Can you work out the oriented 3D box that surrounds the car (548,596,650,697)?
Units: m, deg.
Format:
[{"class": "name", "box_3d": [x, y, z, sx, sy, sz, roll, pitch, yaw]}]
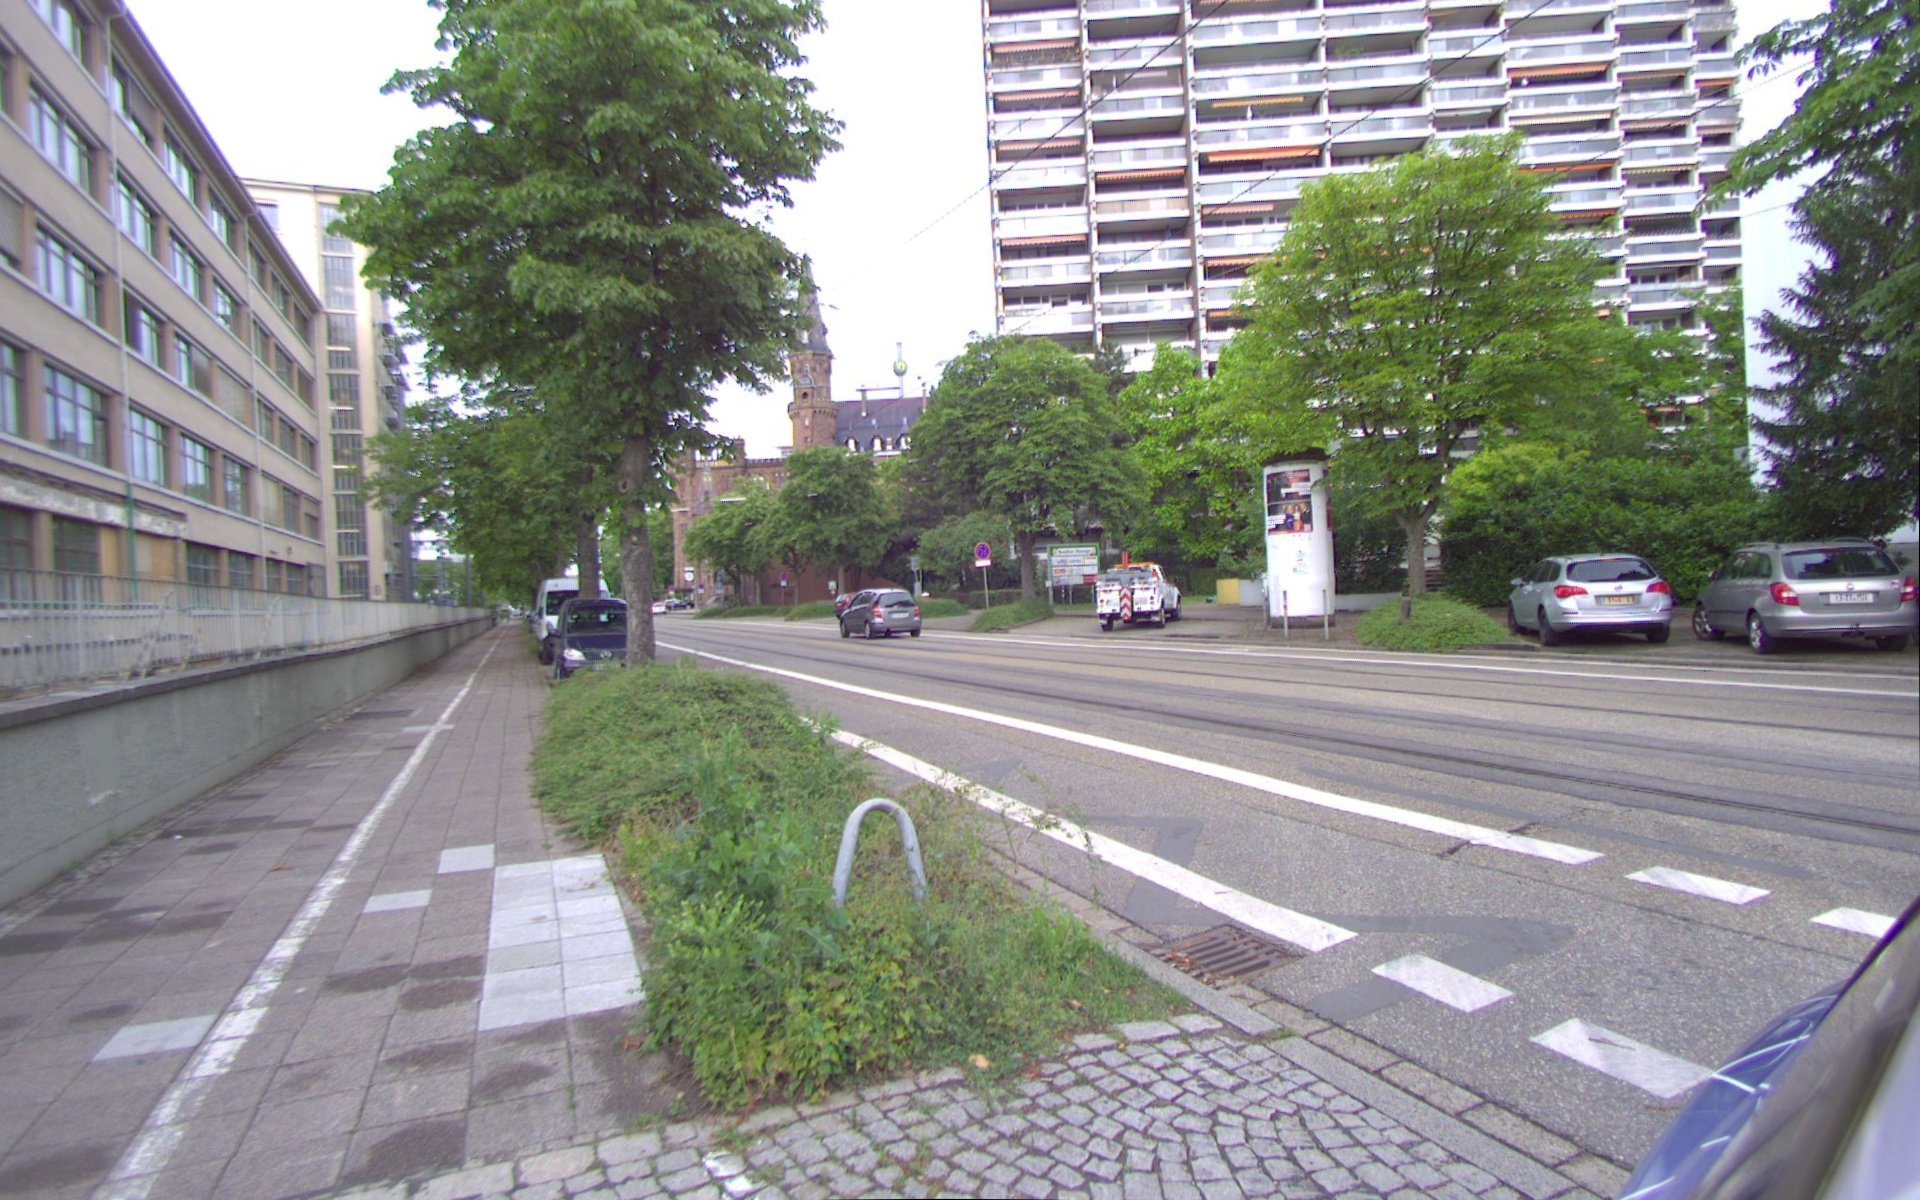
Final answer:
[{"class": "car", "box_3d": [-7.502, 0.858, 20.818, 1.625, 1.835, 4.091, -1, 0, -24]}]

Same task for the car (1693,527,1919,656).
[{"class": "car", "box_3d": [12.008, -0.177, 14.453, 1.554, 1.543, 3.626, -4, 1, 22]}]

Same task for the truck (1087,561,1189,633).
[{"class": "truck", "box_3d": [5.449, -0.153, 30.440, 1.976, 1.871, 5.030, -4, 1, 21]}]

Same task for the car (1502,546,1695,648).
[{"class": "car", "box_3d": [10.966, -0.121, 17.743, 1.780, 1.482, 4.407, -3, 1, 19]}]

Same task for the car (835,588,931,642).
[{"class": "car", "box_3d": [-2.560, 0.466, 32.746, 1.867, 1.549, 3.760, -3, 0, -24]}]

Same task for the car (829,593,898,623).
[{"class": "car", "box_3d": [-5.373, 0.441, 56.375, 3.441, 1.394, 1.633, -5, 2, -38]}]

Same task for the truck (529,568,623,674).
[{"class": "truck", "box_3d": [-11.541, 0.606, 30.170, 2.078, 2.633, 5.500, -8, 2, -24]}]

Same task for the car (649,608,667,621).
[{"class": "car", "box_3d": [-36.680, 1.737, 122.951, 1.958, 1.549, 4.007, -3, 0, -14]}]

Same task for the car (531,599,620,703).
[{"class": "car", "box_3d": [-11.454, 1.398, 29.910, 2.076, 2.634, 5.501, -4, 1, -23]}]
